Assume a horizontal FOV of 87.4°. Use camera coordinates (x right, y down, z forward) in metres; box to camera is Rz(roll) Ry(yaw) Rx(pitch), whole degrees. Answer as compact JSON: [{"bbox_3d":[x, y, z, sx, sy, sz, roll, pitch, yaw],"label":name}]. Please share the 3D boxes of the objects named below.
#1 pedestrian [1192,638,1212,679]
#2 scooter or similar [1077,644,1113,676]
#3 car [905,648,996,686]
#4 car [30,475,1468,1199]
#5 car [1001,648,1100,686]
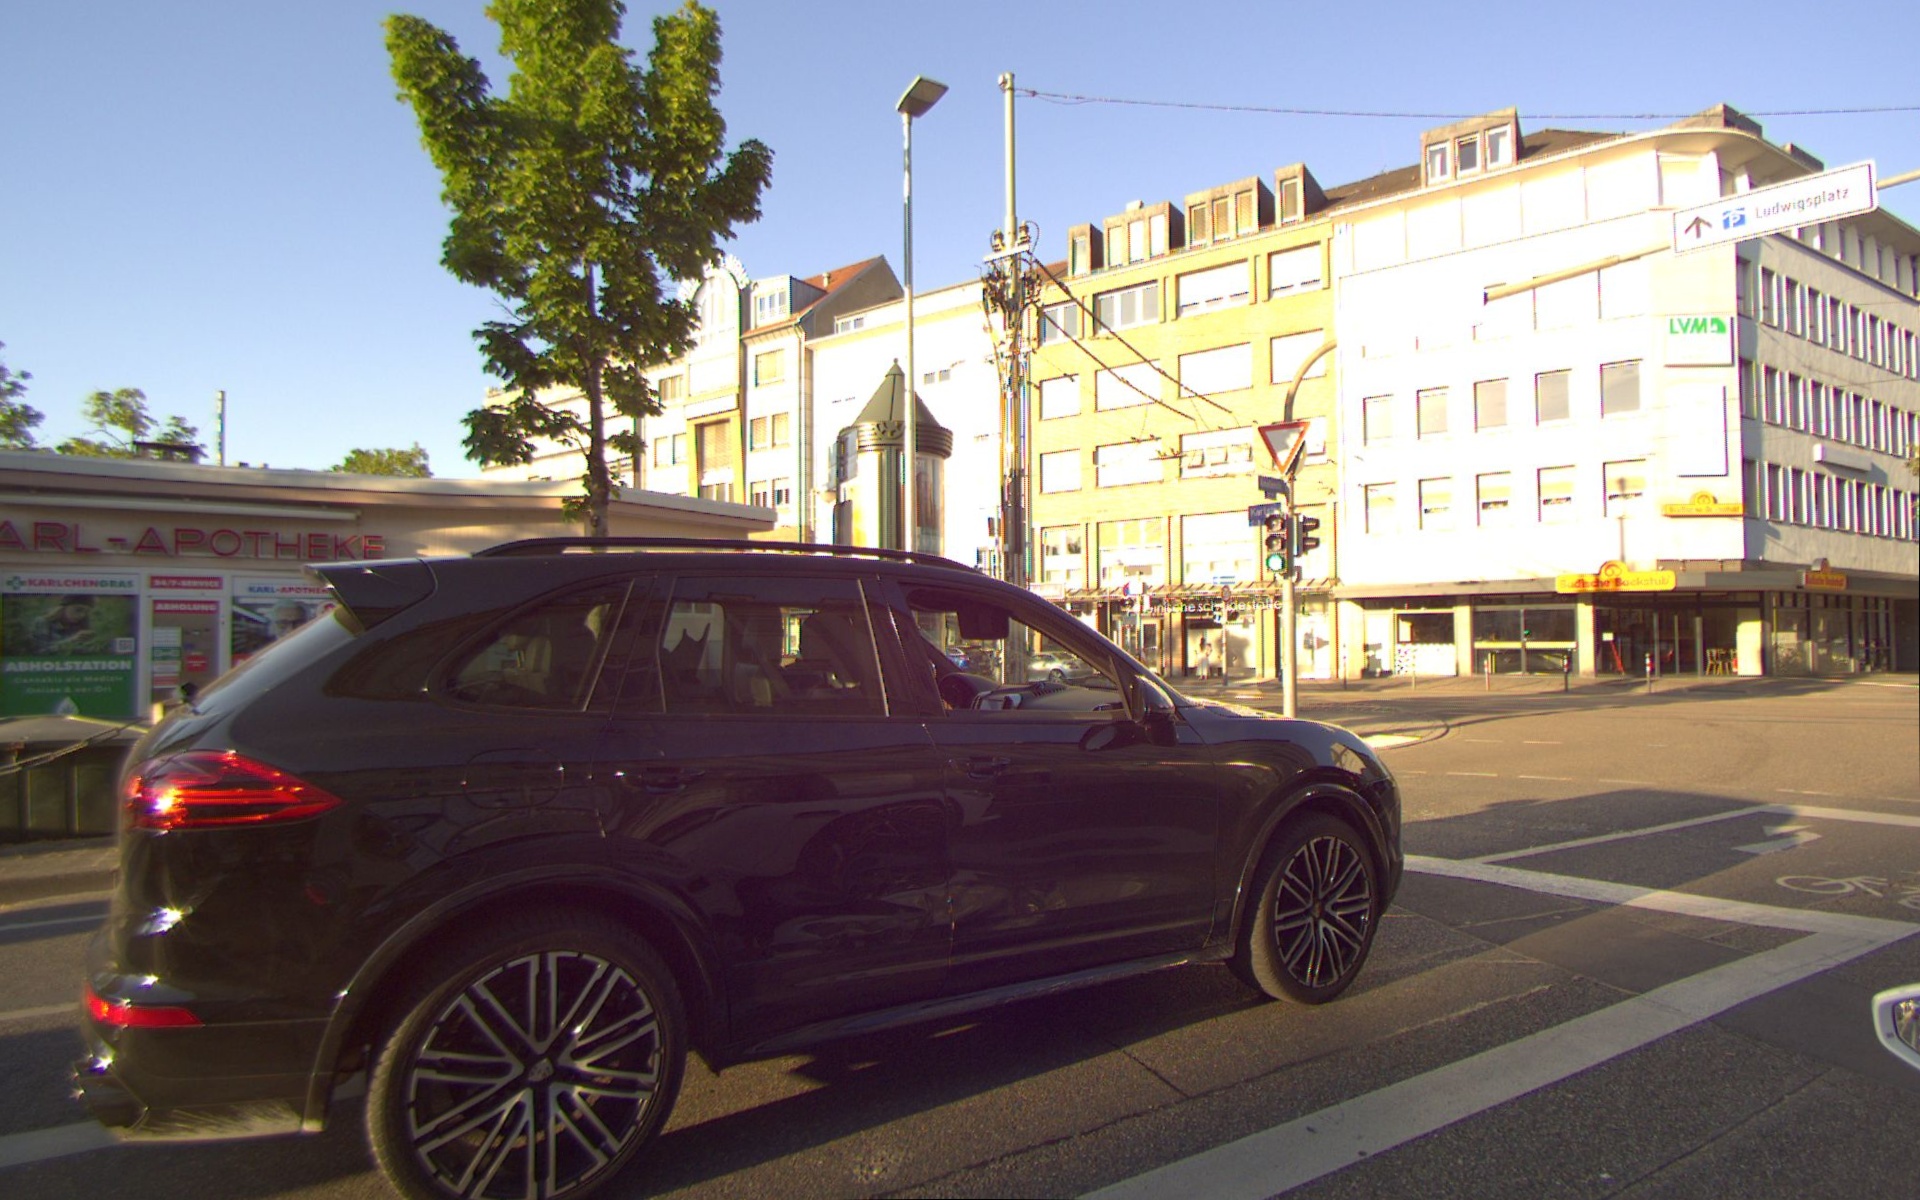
[{"bbox_3d":[9.090,2.198,37.779,0.613,1.491,0.544,-2,0,20],"label":"pedestrian"},{"bbox_3d":[5.542,2.475,41.276,1.443,1.275,0.394,-3,-2,37],"label":"scooter or similar"},{"bbox_3d":[-0.408,2.709,40.471,3.334,1.371,1.631,-3,-1,36],"label":"car"},{"bbox_3d":[-0.260,0.684,3.846,4.516,1.720,1.792,1,-2,-31],"label":"car"},{"bbox_3d":[3.403,2.530,38.030,3.334,1.270,1.631,-3,-1,36],"label":"car"}]
